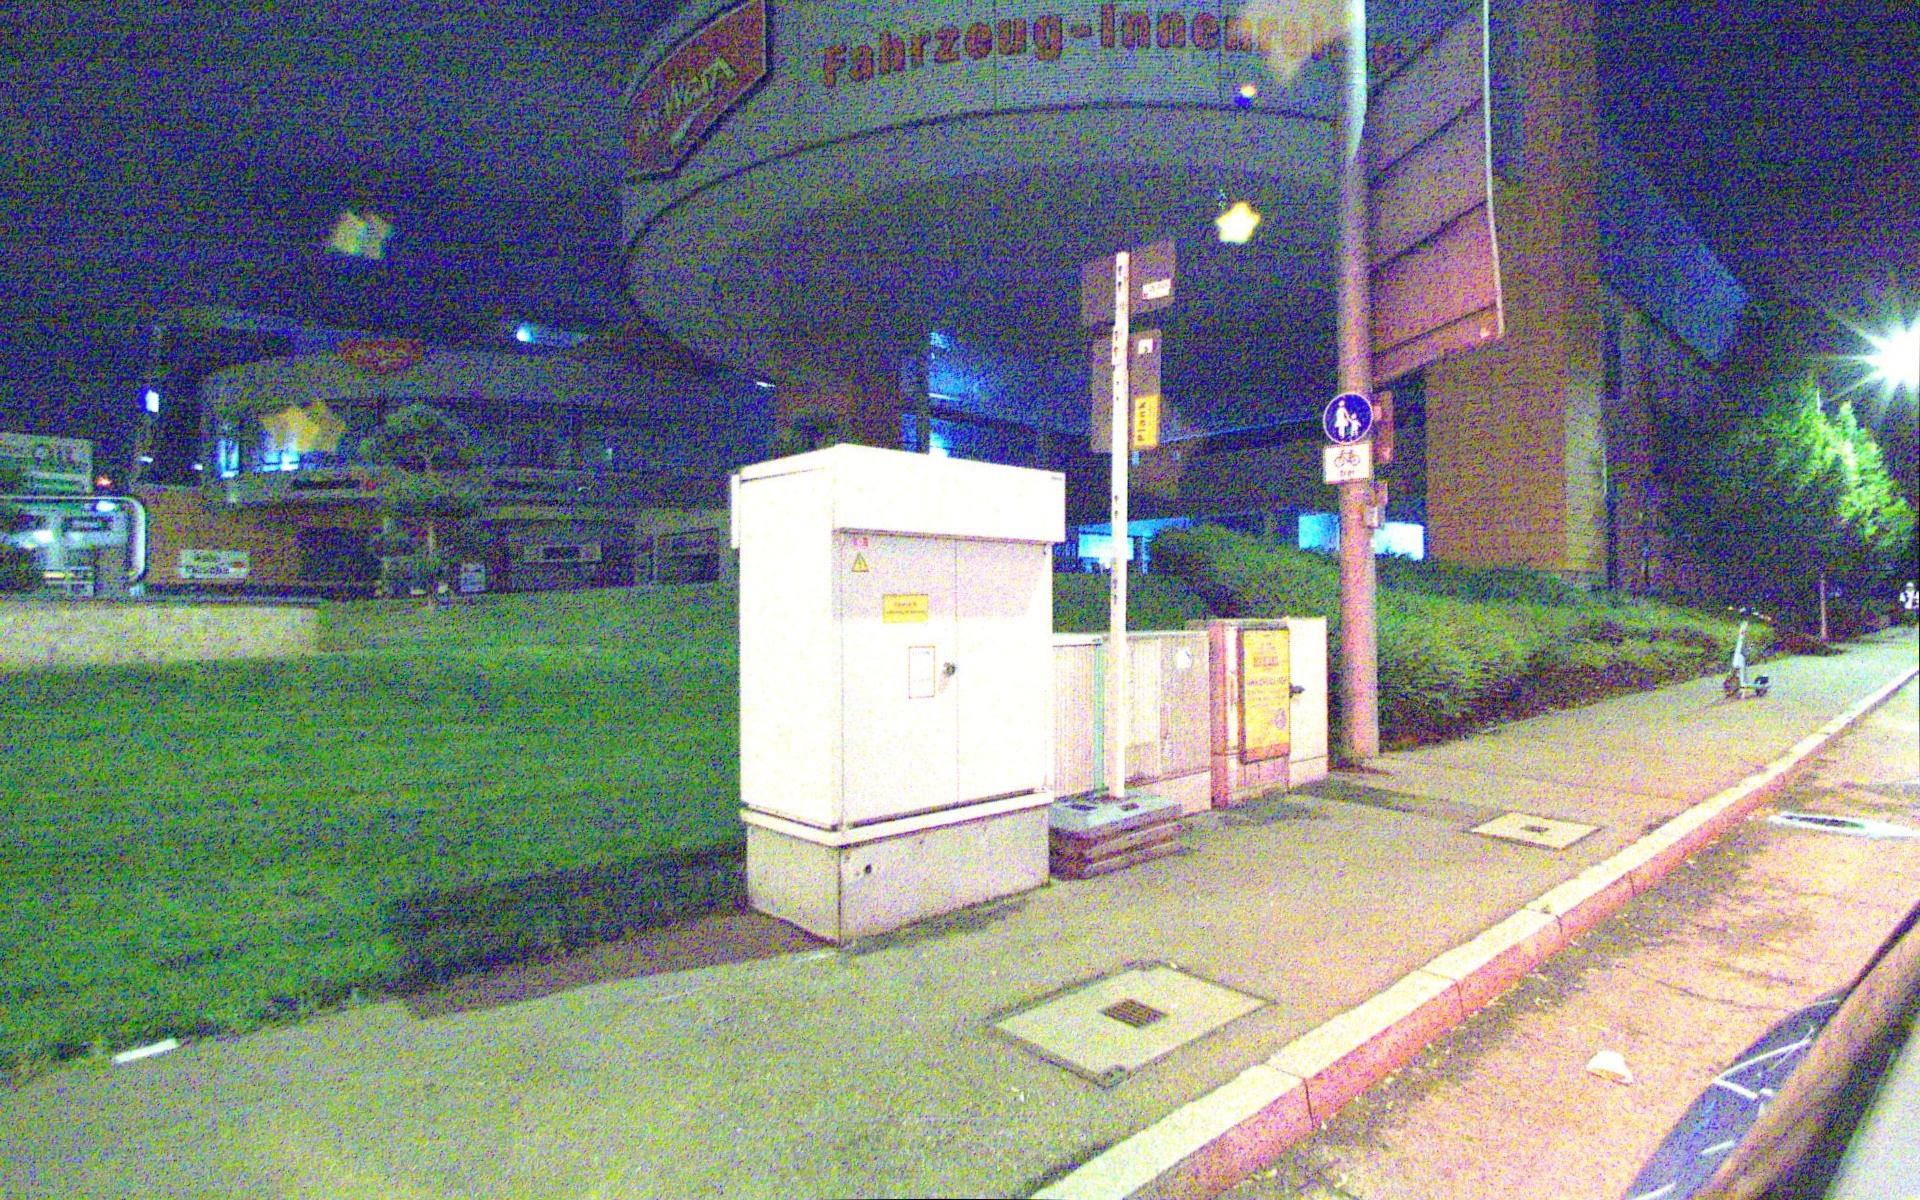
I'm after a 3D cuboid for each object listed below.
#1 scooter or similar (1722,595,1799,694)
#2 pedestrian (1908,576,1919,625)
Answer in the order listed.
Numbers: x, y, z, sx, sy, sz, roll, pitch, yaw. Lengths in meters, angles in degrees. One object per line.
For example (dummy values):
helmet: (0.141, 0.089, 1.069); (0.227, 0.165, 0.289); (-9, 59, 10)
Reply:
scooter or similar: (11.154, 0.584, 14.087); (1.367, 1.295, 0.569); (0, 1, -41)
pedestrian: (36.259, 0.012, 38.026); (0.597, 1.842, 0.824); (-1, 0, -40)
